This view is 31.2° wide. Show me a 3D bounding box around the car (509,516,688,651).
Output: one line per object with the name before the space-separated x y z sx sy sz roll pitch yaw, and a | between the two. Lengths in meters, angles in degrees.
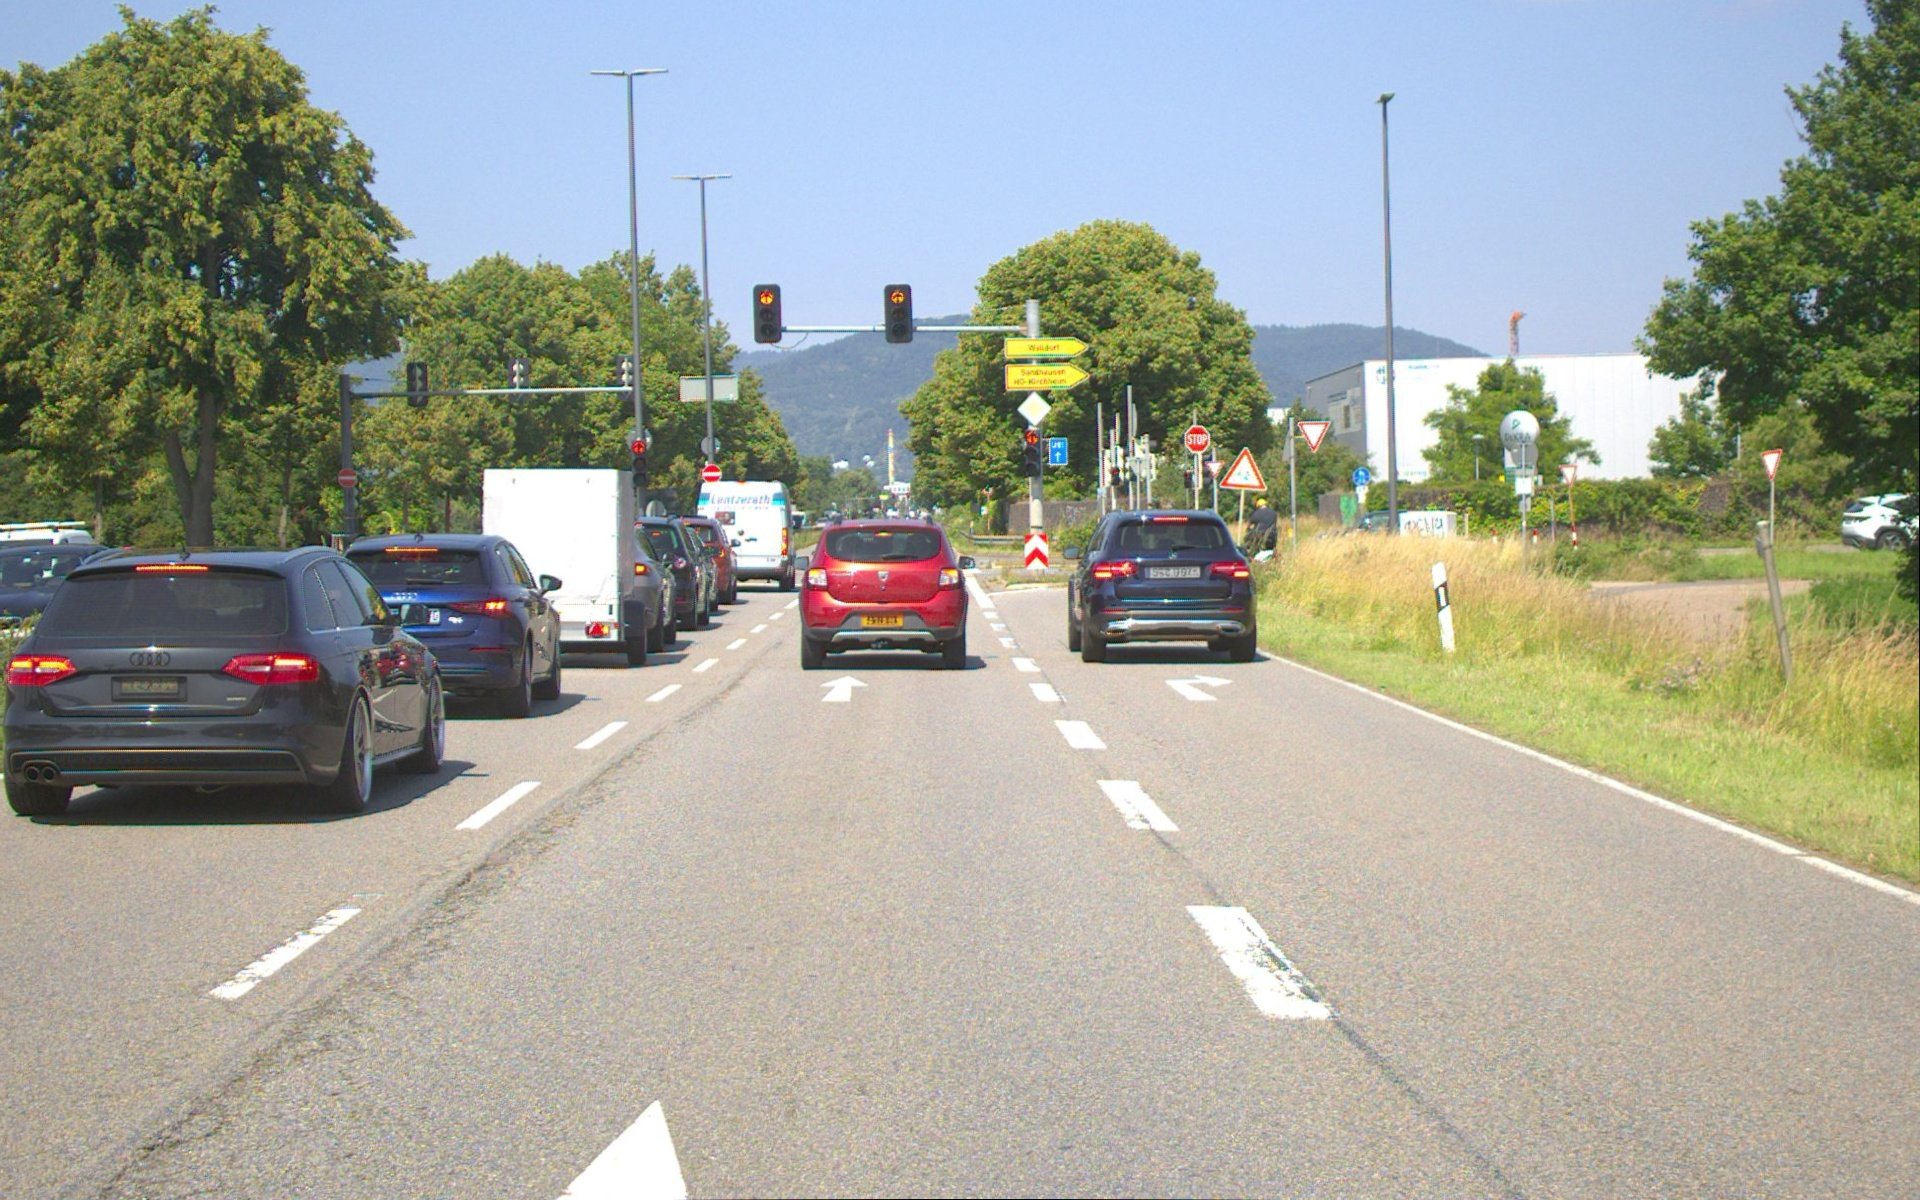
car | -4.293 -0.238 41.388 1.745 1.498 4.363 -1 1 -1

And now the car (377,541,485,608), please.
car | -12.189 -0.613 79.414 1.879 1.449 4.505 -1 1 -1

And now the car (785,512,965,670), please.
car | -0.855 -0.132 36.496 1.749 1.570 3.676 1 1 1

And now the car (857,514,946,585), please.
car | -1.214 -1.087 72.881 1.749 1.453 3.676 0 2 1

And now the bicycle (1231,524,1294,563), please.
bicycle | 7.269 -1.373 82.704 0.761 0.911 2.780 -1 1 -11

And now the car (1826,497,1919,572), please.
car | 24.614 -1.701 87.857 4.490 1.861 1.885 -1 1 2

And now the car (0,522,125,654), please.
car | -14.566 -0.224 53.579 1.993 1.945 4.831 -1 1 -1

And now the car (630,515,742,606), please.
car | -4.943 -0.740 62.455 1.724 1.594 3.956 0 1 0

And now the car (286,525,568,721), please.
car | -4.227 0.129 27.813 1.717 1.460 4.030 0 1 -1

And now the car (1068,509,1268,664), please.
car | 2.219 -0.195 37.745 1.993 1.611 4.340 0 1 1

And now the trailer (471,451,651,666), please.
trailer | -4.266 -0.480 37.244 1.500 2.166 4.175 -1 1 -1

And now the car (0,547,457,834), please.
car | -3.964 0.409 19.067 1.740 1.375 4.455 0 1 -1

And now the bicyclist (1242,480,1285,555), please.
bicyclist | 7.280 -1.987 82.560 0.802 1.765 0.809 -1 1 -11

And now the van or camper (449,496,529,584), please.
van or camper | -17.140 -2.184 125.388 2.263 3.088 5.696 -1 1 -2

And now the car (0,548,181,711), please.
car | -9.884 0.279 37.097 1.993 1.597 4.481 -1 1 -1

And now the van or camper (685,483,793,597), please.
van or camper | -4.655 -1.281 72.775 2.179 2.295 4.827 -1 1 -3

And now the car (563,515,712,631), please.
car | -4.480 -0.413 48.197 1.723 1.570 3.893 0 1 0
